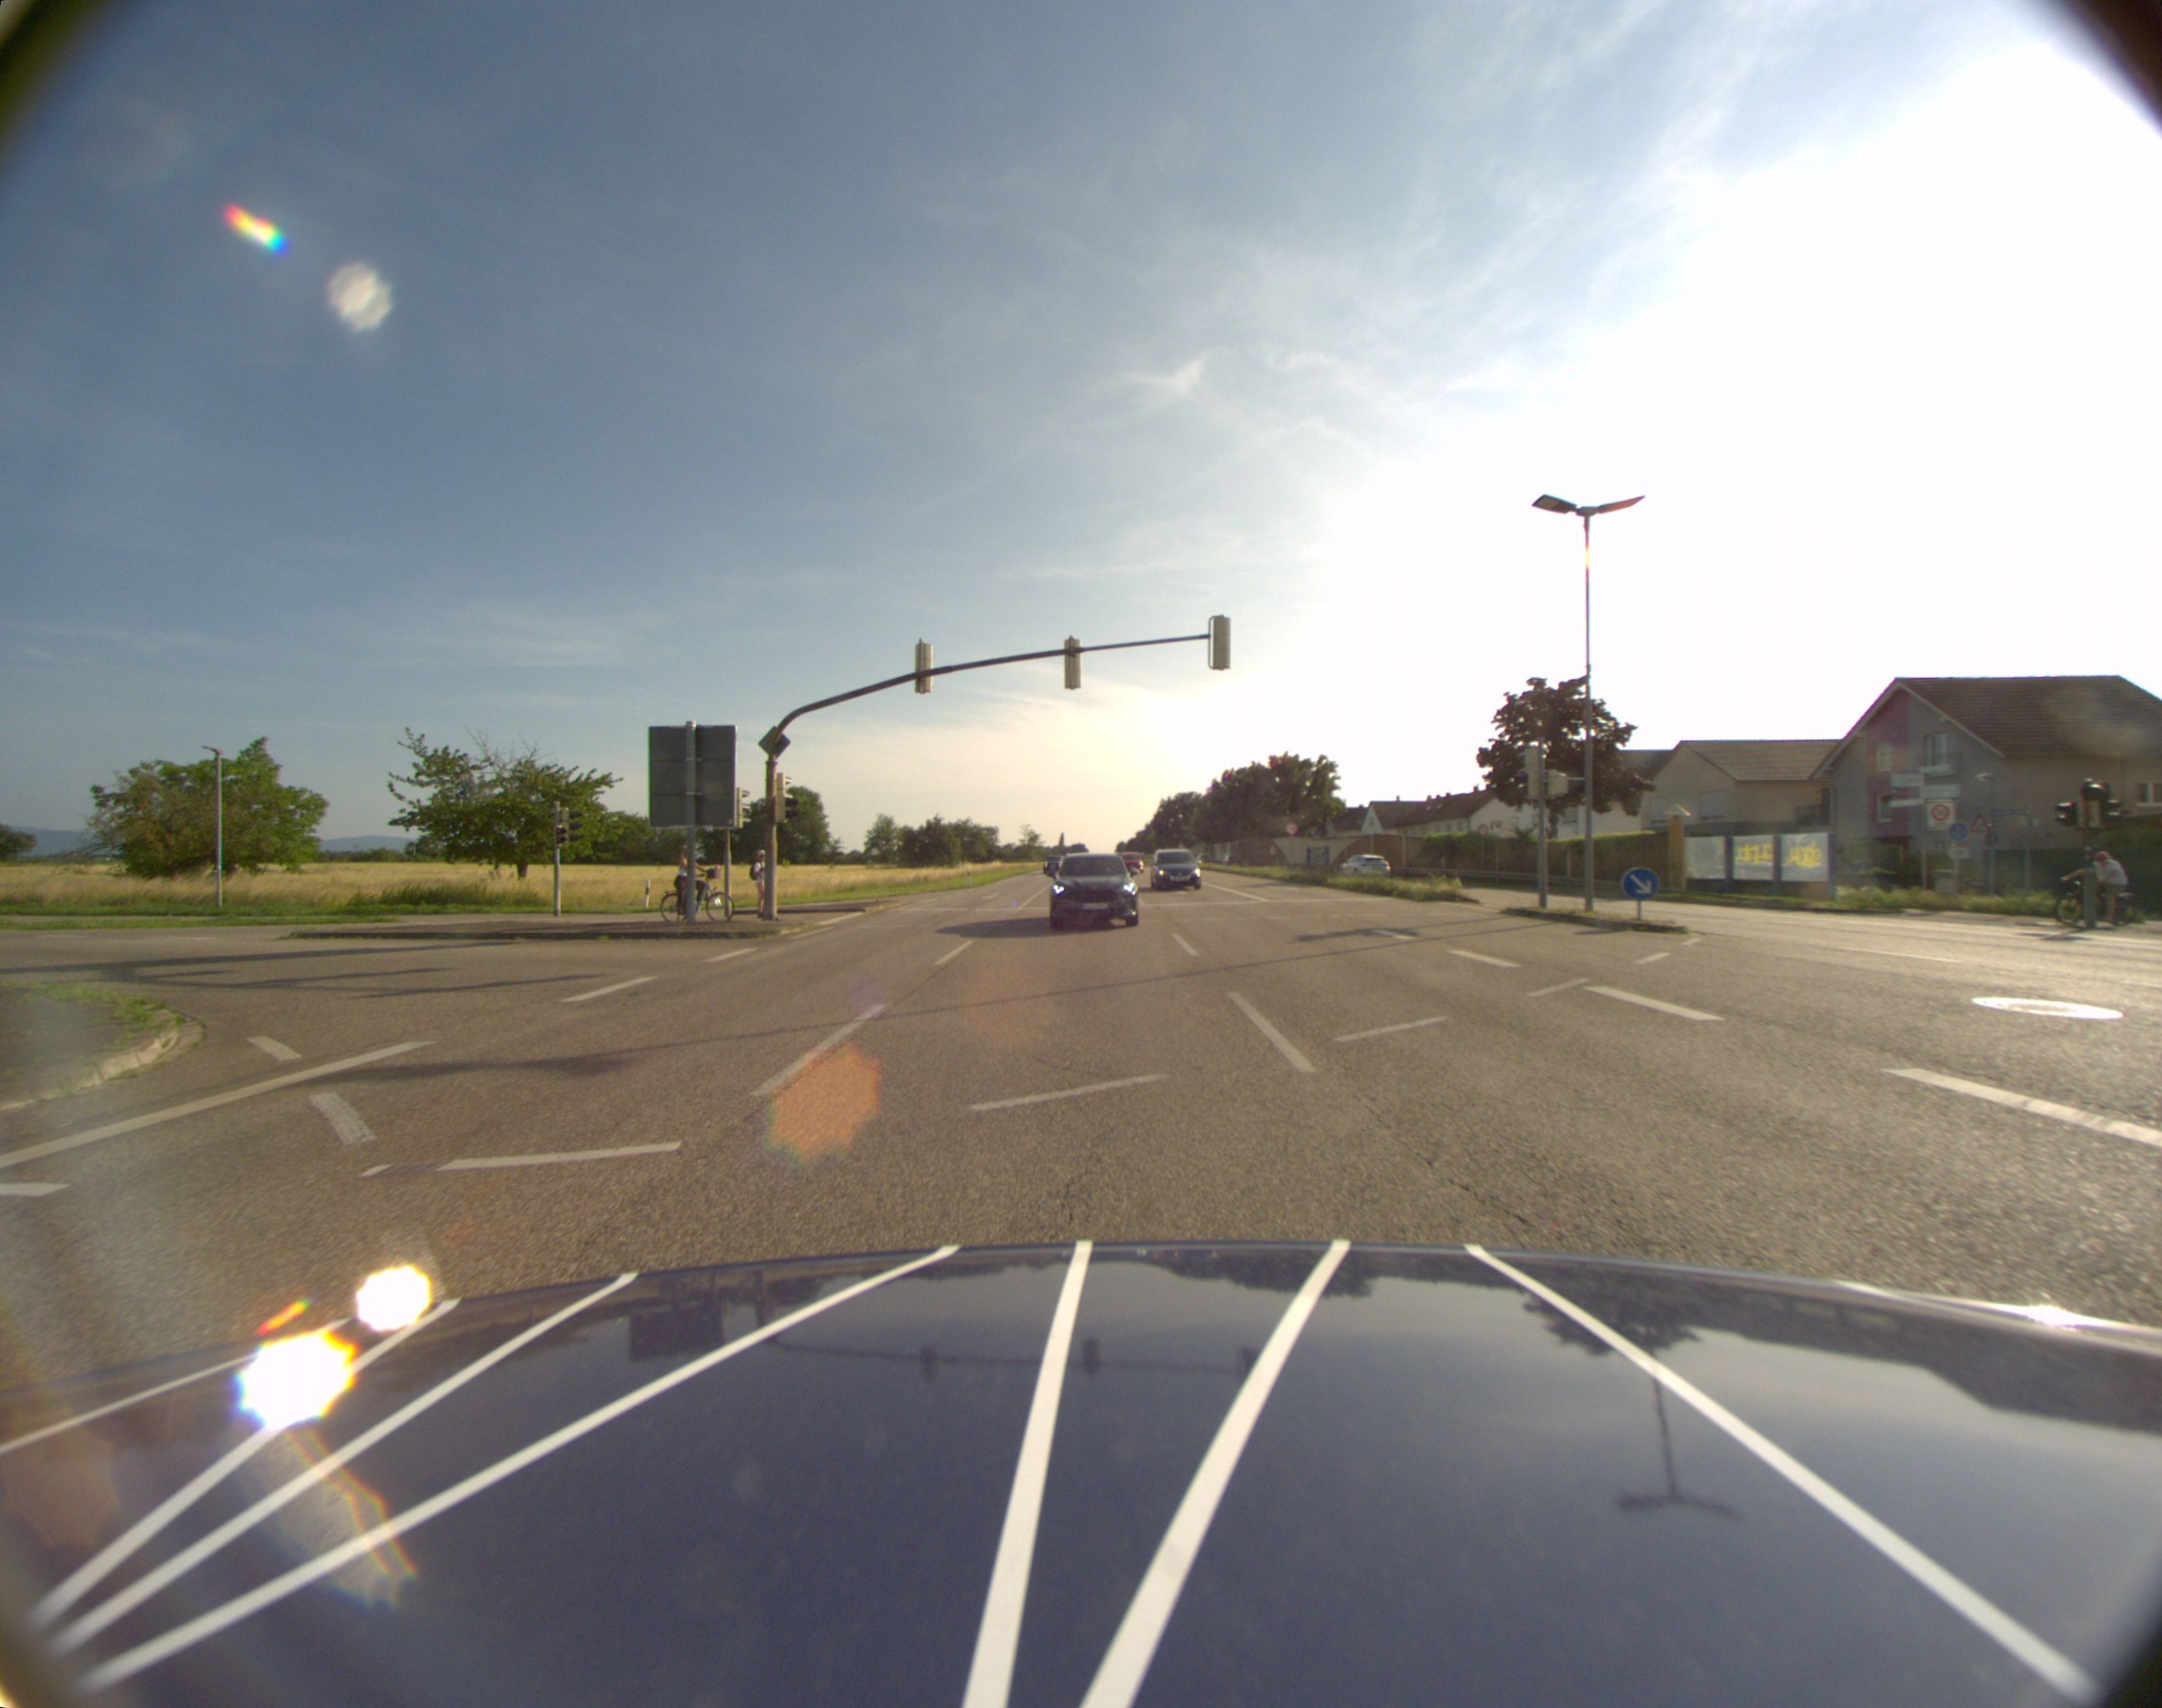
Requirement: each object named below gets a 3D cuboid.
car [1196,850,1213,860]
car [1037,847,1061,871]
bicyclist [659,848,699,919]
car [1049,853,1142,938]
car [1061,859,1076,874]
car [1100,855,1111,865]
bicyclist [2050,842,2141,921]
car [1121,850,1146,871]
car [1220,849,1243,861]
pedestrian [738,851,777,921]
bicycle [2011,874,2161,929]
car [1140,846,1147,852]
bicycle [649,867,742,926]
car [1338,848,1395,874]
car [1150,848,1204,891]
[{"bbox_3d":[18.660,0.132,115.129,1.739,1.346,3.999,-2,1,-2],"label":"car"},{"bbox_3d":[-2.756,0.428,66.577,1.999,2.002,3.999,-2,1,-2],"label":"car"},{"bbox_3d":[-9.271,0.667,17.540,0.560,1.603,0.504,-2,1,7],"label":"bicyclist"},{"bbox_3d":[0.339,0.830,17.313,1.791,1.594,4.339,-2,1,1],"label":"car"},{"bbox_3d":[-1.472,1.395,87.470,1.686,1.565,3.816,-2,1,-2],"label":"car"},{"bbox_3d":[5.160,1.299,160.720,1.999,2.002,3.999,-2,1,-2],"label":"car"},{"bbox_3d":[23.863,0.622,17.892,0.856,1.777,0.847,2,2,9],"label":"bicyclist"},{"bbox_3d":[4.082,0.461,59.485,1.748,1.537,4.000,-2,1,1],"label":"car"},{"bbox_3d":[18.072,0.110,91.206,1.793,1.375,4.553,-2,1,0],"label":"car"},{"bbox_3d":[-8.253,0.798,19.416,0.623,1.741,0.598,-2,1,11],"label":"pedestrian"},{"bbox_3d":[23.701,1.102,17.917,2.159,1.185,0.904,0,1,10],"label":"bicycle"},{"bbox_3d":[17.229,-1.363,209.975,1.686,1.565,3.817,-2,1,1],"label":"car"},{"bbox_3d":[-8.887,0.975,17.545,1.857,1.282,0.529,-2,1,4],"label":"bicycle"},{"bbox_3d":[17.127,0.409,45.820,1.758,1.453,4.734,1,1,1],"label":"car"},{"bbox_3d":[3.933,0.586,31.892,1.777,1.612,4.682,-1,1,2],"label":"car"}]
